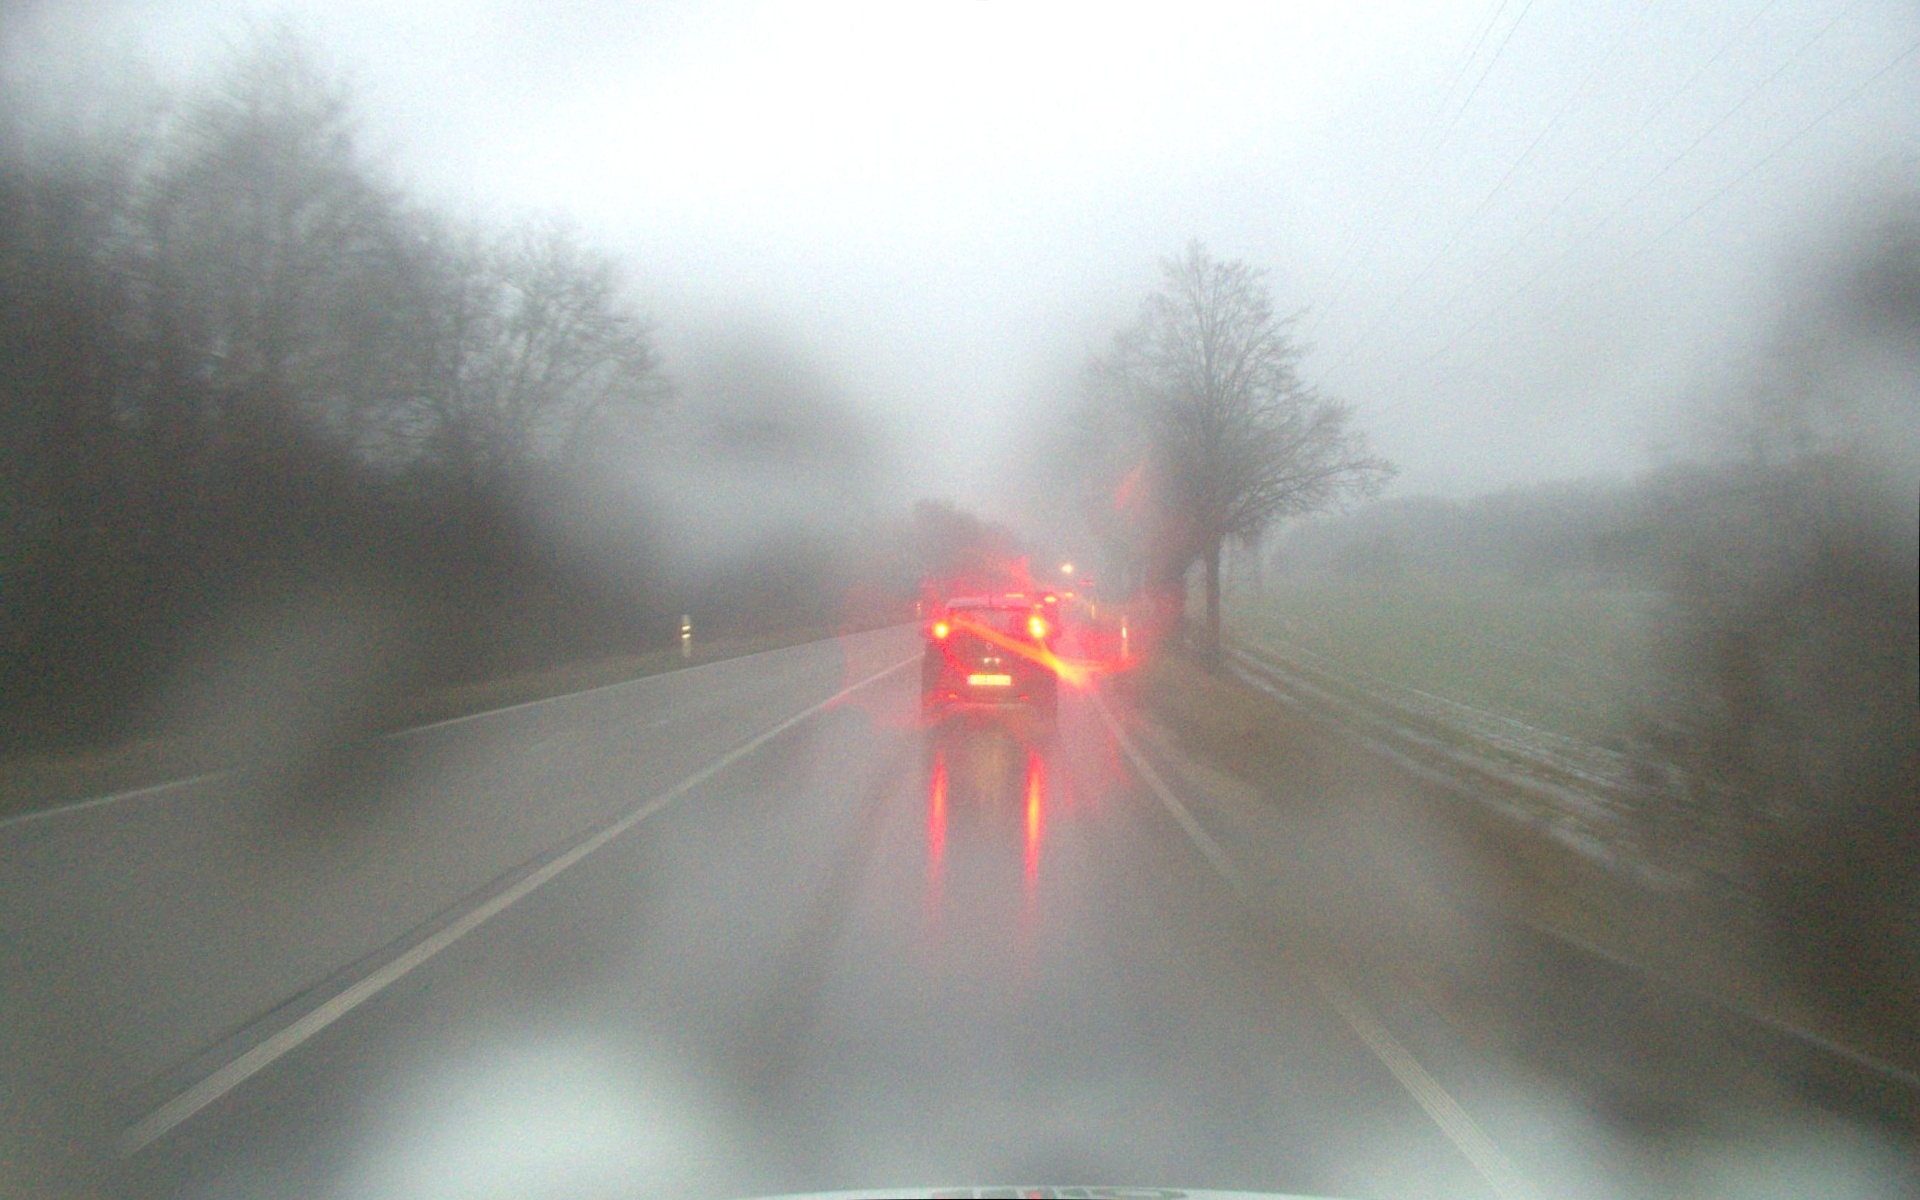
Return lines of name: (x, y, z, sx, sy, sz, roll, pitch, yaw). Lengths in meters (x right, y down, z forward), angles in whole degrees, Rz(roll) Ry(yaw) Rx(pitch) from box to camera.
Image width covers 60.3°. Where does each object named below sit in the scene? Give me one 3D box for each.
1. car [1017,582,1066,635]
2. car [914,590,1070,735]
car: (3.555, 0.395, 72.363, 1.906, 2.048, 4.001, -6, -1, 2)
car: (0.319, 0.716, 21.330, 1.696, 1.559, 4.041, -3, 1, -2)
